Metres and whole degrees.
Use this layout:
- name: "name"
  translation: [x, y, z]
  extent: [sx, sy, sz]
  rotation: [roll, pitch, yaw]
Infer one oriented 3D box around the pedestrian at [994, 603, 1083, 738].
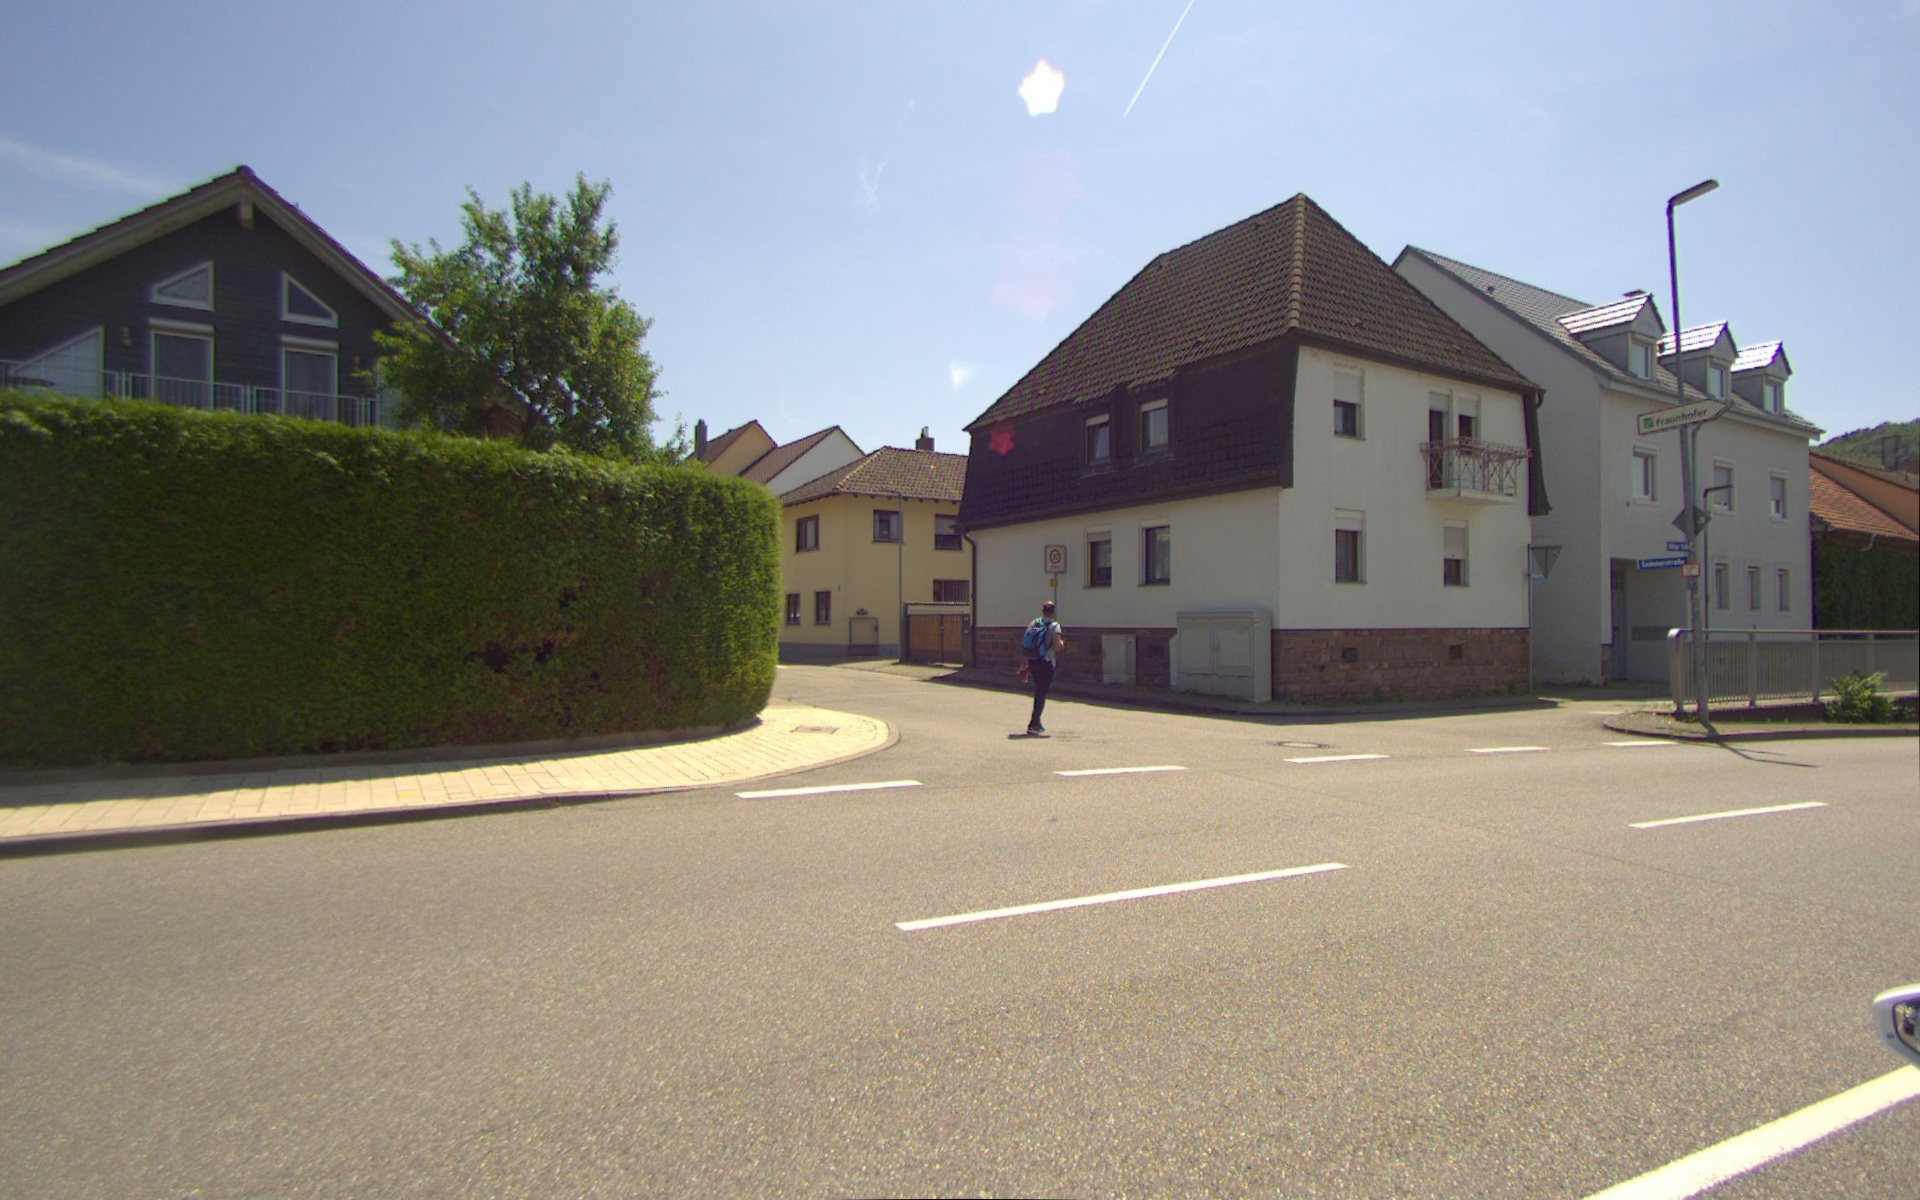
- name: "pedestrian"
  translation: [1.058, 0.941, 13.544]
  extent: [0.847, 1.751, 0.723]
  rotation: [4, -2, -33]
